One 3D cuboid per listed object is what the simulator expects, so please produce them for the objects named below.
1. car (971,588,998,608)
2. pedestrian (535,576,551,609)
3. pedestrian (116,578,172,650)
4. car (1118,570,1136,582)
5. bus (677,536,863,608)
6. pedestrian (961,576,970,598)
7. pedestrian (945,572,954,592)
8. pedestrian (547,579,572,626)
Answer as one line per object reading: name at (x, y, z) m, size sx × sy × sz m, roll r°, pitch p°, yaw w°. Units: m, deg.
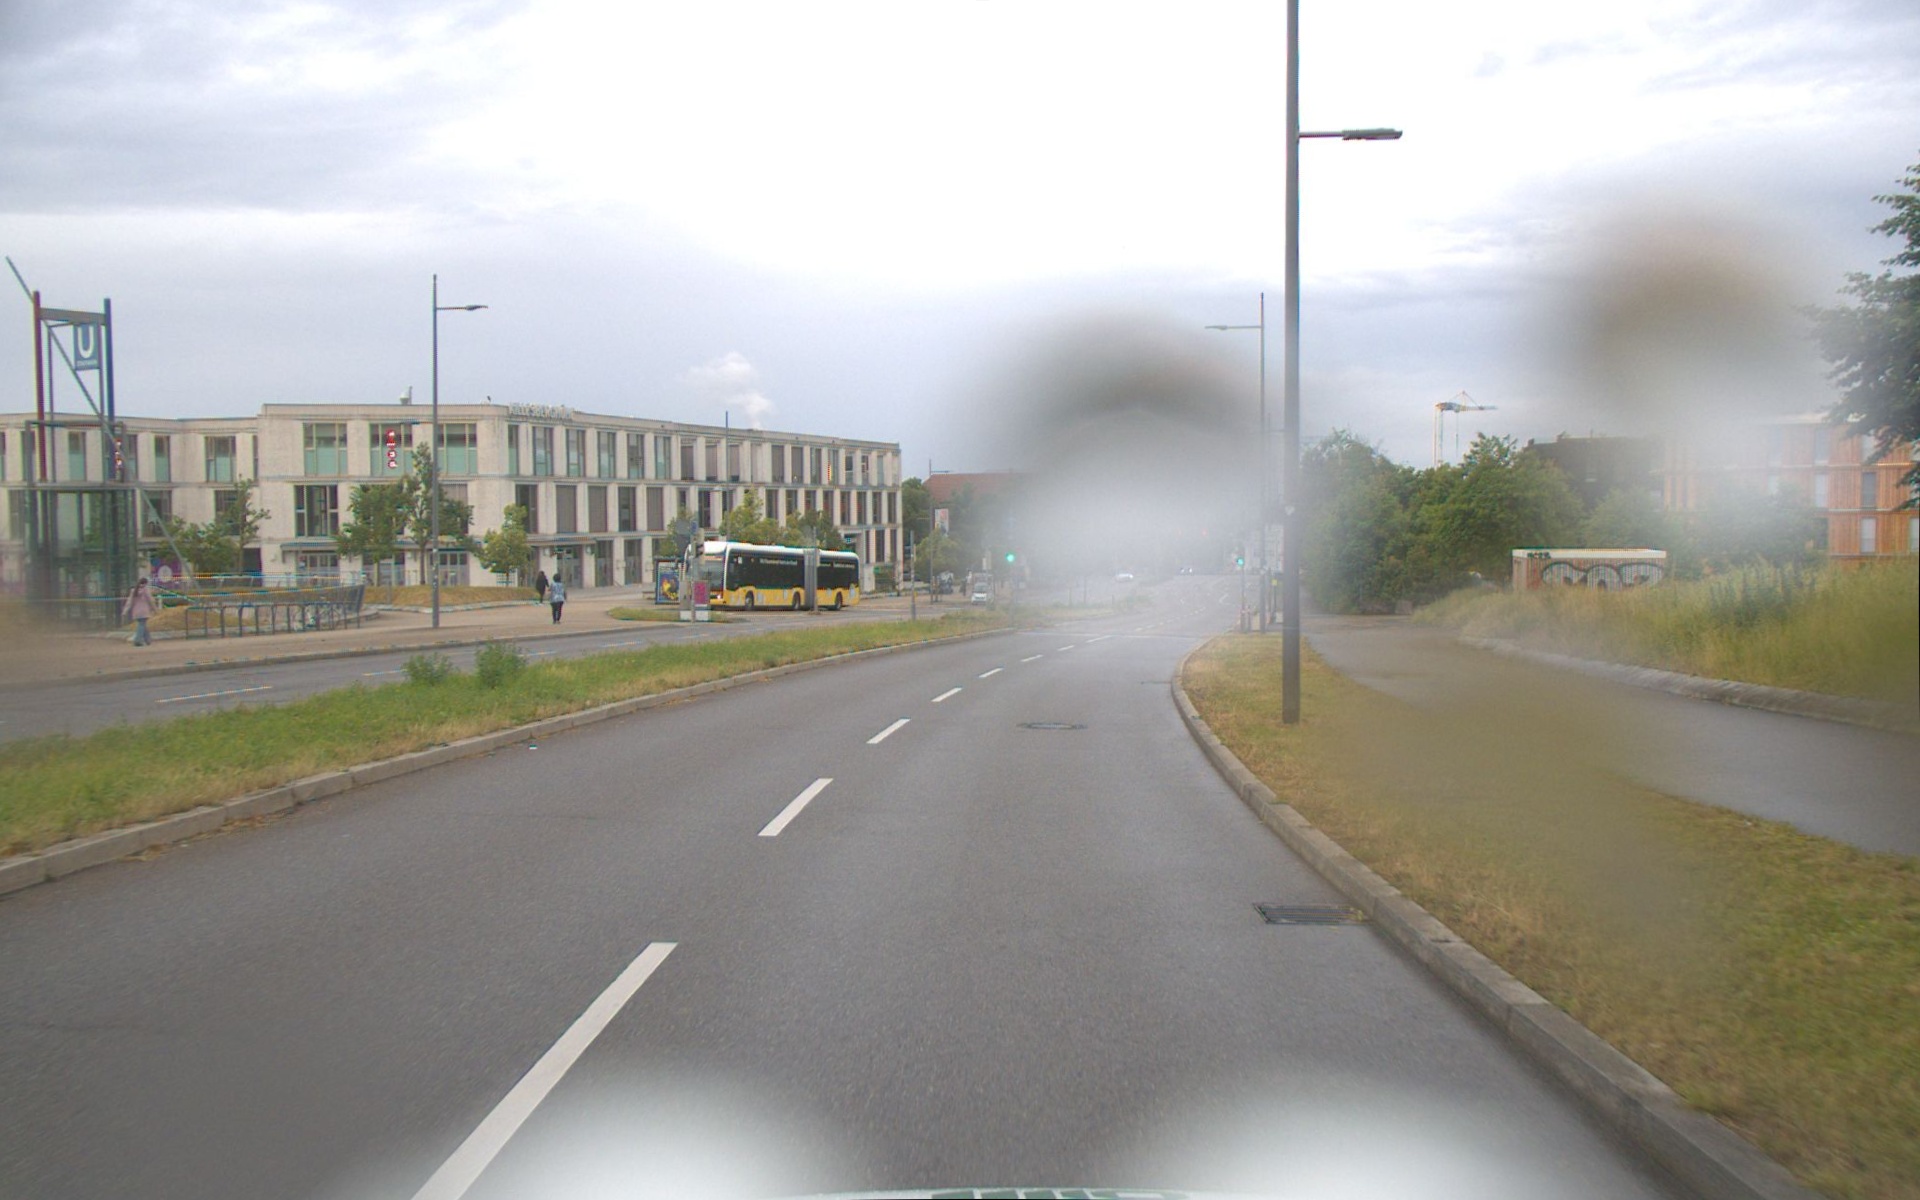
car at (1.941, -0.149, 130.861) m, size 1.447 × 1.520 × 2.532 m, roll 0°, pitch -1°, yaw 16°
pedestrian at (-20.090, -0.351, 79.687) m, size 0.669 × 1.551 × 0.718 m, roll 0°, pitch -1°, yaw -7°
pedestrian at (-18.905, 0.324, 38.336) m, size 0.796 × 1.649 × 0.935 m, roll 0°, pitch -1°, yaw 4°
car at (21.716, -3.113, 214.795) m, size 1.732 × 1.520 × 4.070 m, roll 0°, pitch -1°, yaw 15°
bus at (-9.868, -1.338, 90.015) m, size 2.726 × 3.416 × 18.233 m, roll 0°, pitch -1°, yaw 18°
pedestrian at (0.494, -1.169, 147.615) m, size 0.734 × 1.981 × 0.837 m, roll 0°, pitch -1°, yaw -7°
pedestrian at (-0.973, -1.718, 157.407) m, size 0.734 × 1.885 × 0.837 m, roll 0°, pitch -1°, yaw -7°
pedestrian at (-13.590, 0.086, 56.147) m, size 0.820 × 1.601 × 0.717 m, roll 0°, pitch -1°, yaw -14°
